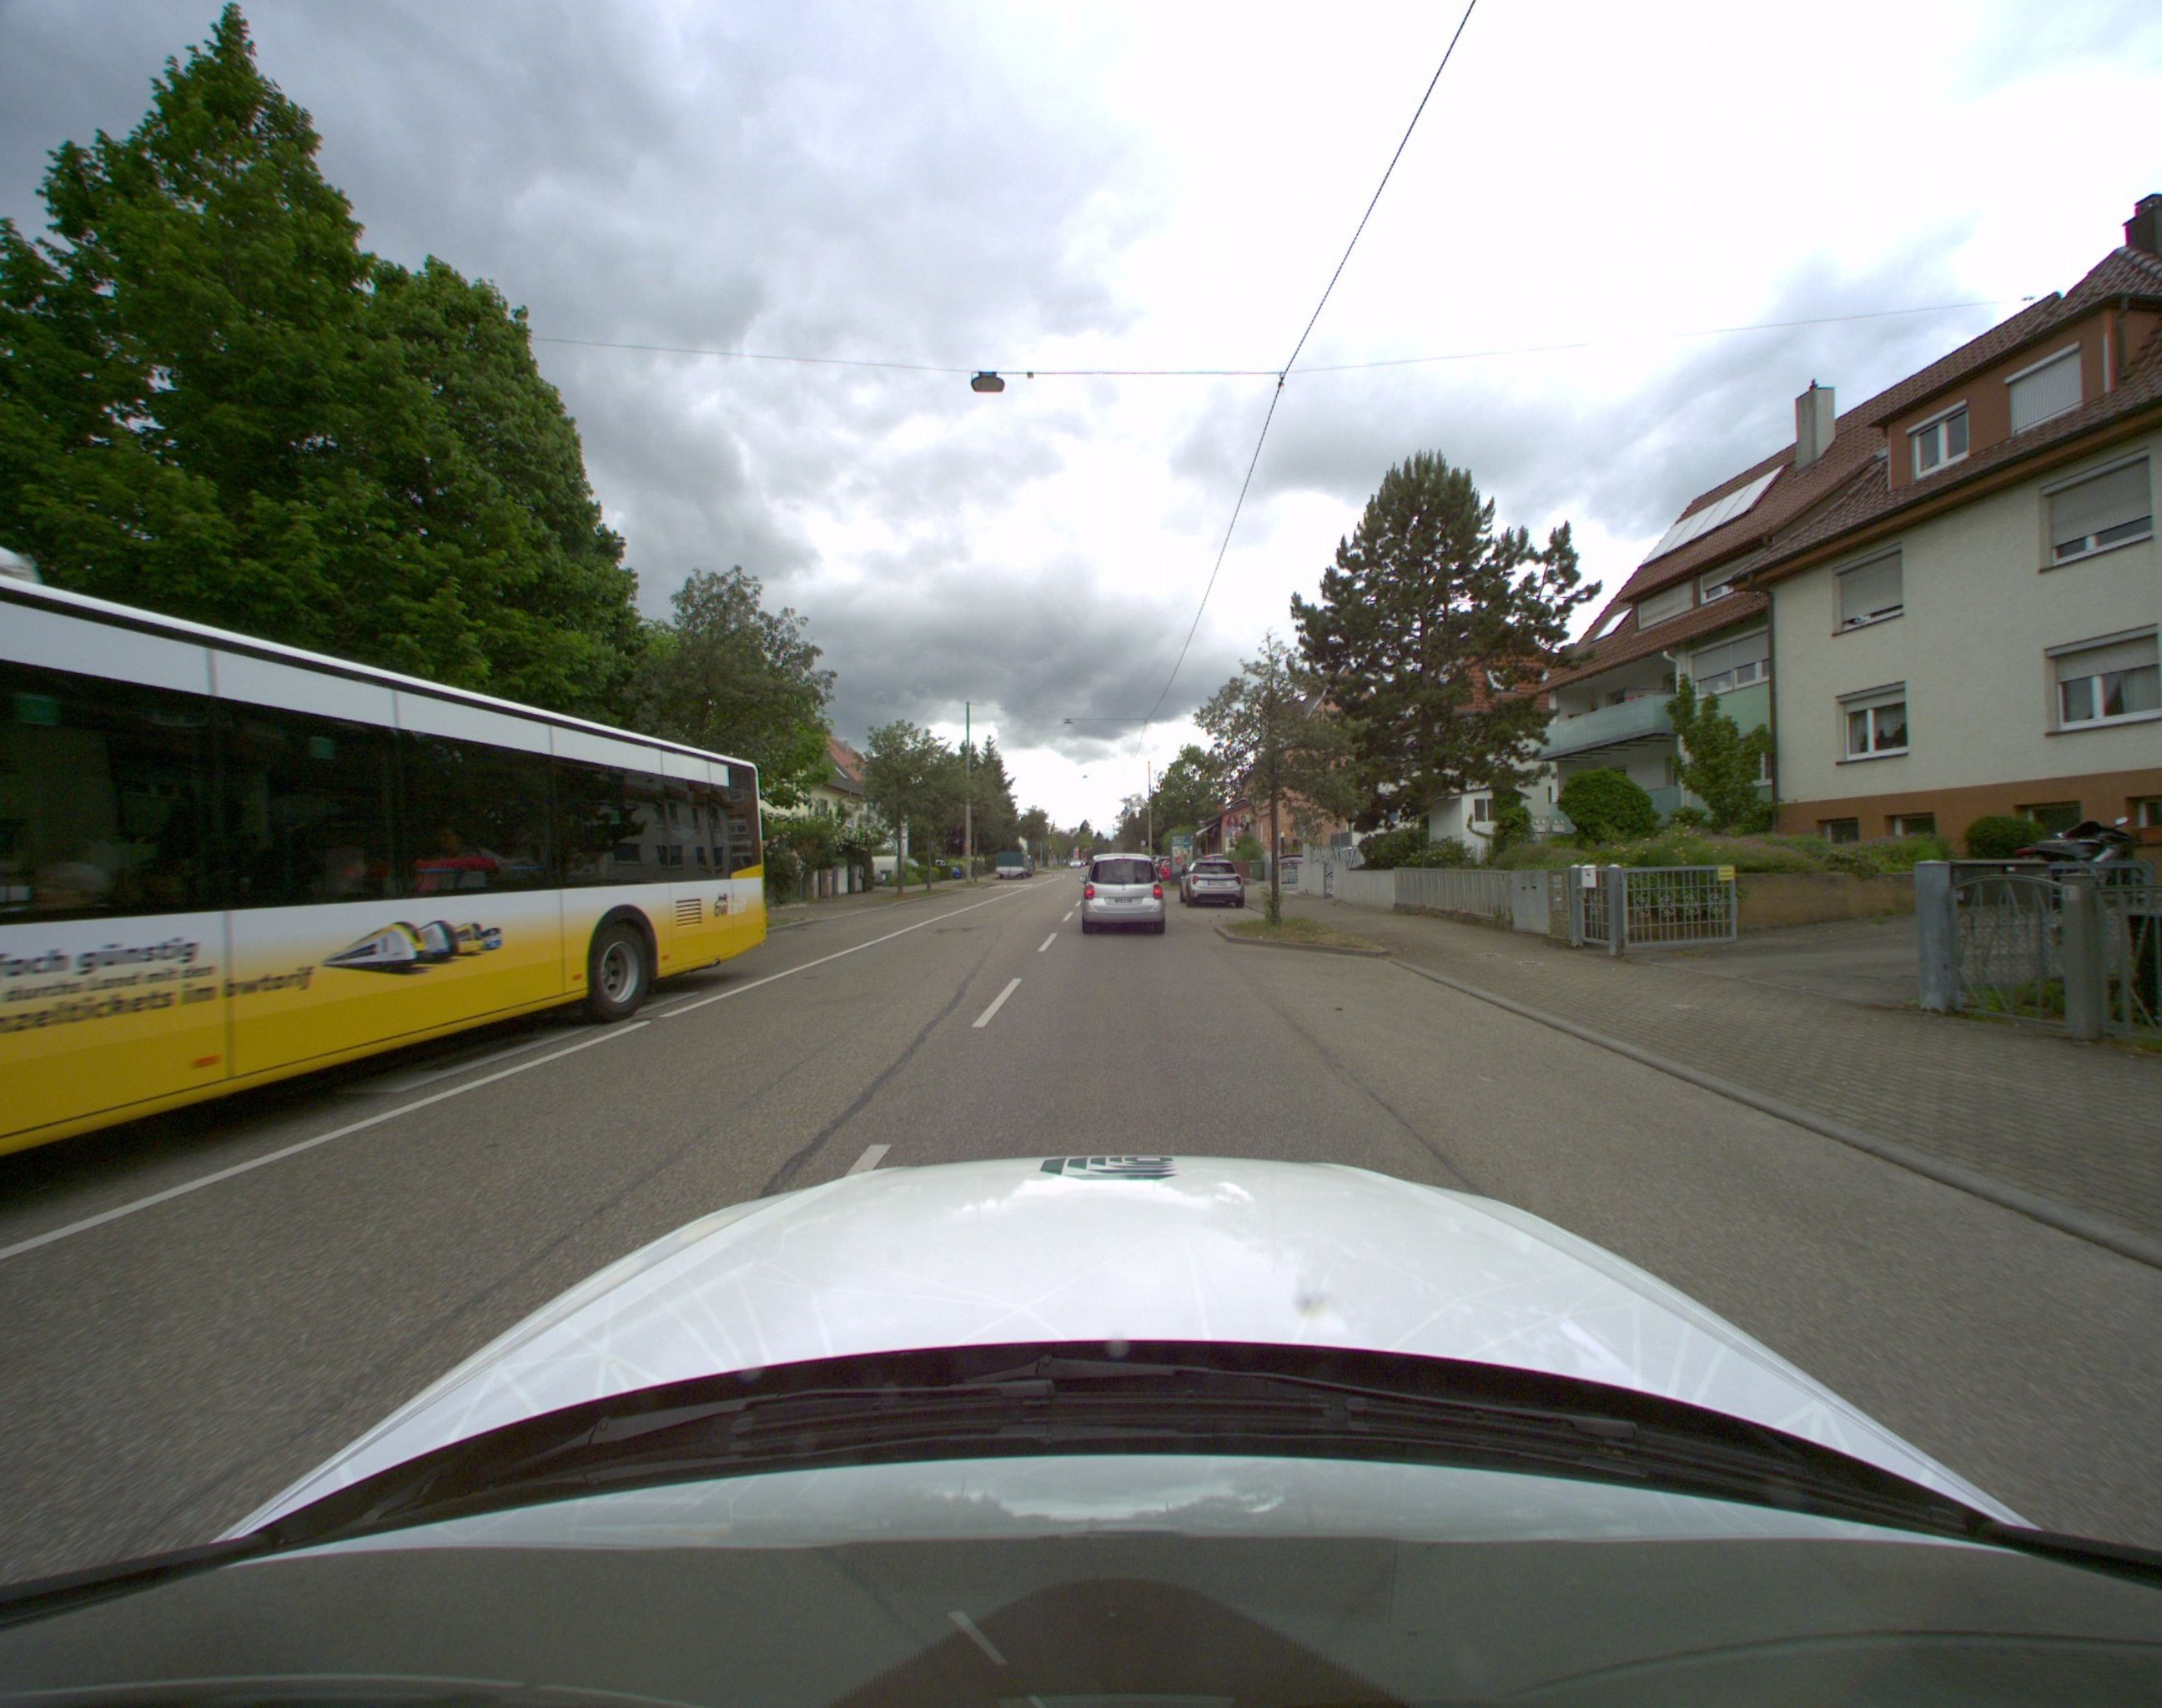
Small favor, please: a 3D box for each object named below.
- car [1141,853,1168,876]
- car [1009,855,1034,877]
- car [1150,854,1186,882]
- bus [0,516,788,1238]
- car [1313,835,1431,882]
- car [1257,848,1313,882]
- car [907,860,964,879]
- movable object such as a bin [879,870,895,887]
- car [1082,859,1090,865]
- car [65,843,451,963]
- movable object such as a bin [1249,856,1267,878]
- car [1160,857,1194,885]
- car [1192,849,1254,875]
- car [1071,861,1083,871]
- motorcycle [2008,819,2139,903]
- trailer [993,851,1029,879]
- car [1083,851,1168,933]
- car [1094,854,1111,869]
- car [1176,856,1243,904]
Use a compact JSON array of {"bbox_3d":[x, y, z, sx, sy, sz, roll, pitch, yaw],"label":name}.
[{"bbox_3d":[5.913,0.891,65.910,1.806,1.743,4.000,-2,-1,1],"label":"car"},{"bbox_3d":[-5.256,1.070,72.425,1.881,1.922,4.561,0,-1,0],"label":"car"},{"bbox_3d":[5.197,0.832,49.080,1.657,1.564,4.097,-1,0,0],"label":"car"},{"bbox_3d":[-5.830,0.142,5.599,2.621,3.086,12.077,-3,0,3],"label":"bus"},{"bbox_3d":[12.173,0.209,34.234,4.255,1.506,1.691,-5,-2,-6],"label":"car"},{"bbox_3d":[10.122,0.486,40.116,1.802,1.380,4.506,-5,-1,24],"label":"car"},{"bbox_3d":[-10.395,1.149,58.470,3.985,1.338,1.573,0,-2,-8],"label":"car"},{"bbox_3d":[-10.233,1.289,42.941,0.549,0.902,0.571,-1,-2,-45],"label":"movable object such as a bin"},{"bbox_3d":[1.216,1.839,187.589,1.717,1.411,3.997,0,-1,-1],"label":"car"},{"bbox_3d":[-13.298,0.674,13.708,1.801,1.564,4.615,-3,0,-2],"label":"car"},{"bbox_3d":[9.283,0.682,42.750,0.773,1.104,0.691,-2,0,1],"label":"movable object such as a bin"},{"bbox_3d":[5.203,0.893,44.669,1.655,1.393,3.672,-2,0,4],"label":"car"},{"bbox_3d":[10.154,0.561,58.434,3.983,1.496,1.806,-4,0,-7],"label":"car"},{"bbox_3d":[-0.662,2.127,142.431,1.901,1.618,3.995,-1,-1,-3],"label":"car"},{"bbox_3d":[14.423,0.111,11.847,1.221,1.046,0.584,-7,-2,-10],"label":"motorcycle"},{"bbox_3d":[-5.516,0.908,65.221,2.304,2.087,5.872,0,-1,0],"label":"trailer"},{"bbox_3d":[0.958,0.757,17.530,1.623,1.557,4.003,0,-1,3],"label":"car"},{"bbox_3d":[2.511,0.914,95.053,1.822,1.675,3.576,-2,-1,2],"label":"car"},{"bbox_3d":[4.012,0.794,25.903,1.643,1.382,4.002,-1,-1,3],"label":"car"}]
